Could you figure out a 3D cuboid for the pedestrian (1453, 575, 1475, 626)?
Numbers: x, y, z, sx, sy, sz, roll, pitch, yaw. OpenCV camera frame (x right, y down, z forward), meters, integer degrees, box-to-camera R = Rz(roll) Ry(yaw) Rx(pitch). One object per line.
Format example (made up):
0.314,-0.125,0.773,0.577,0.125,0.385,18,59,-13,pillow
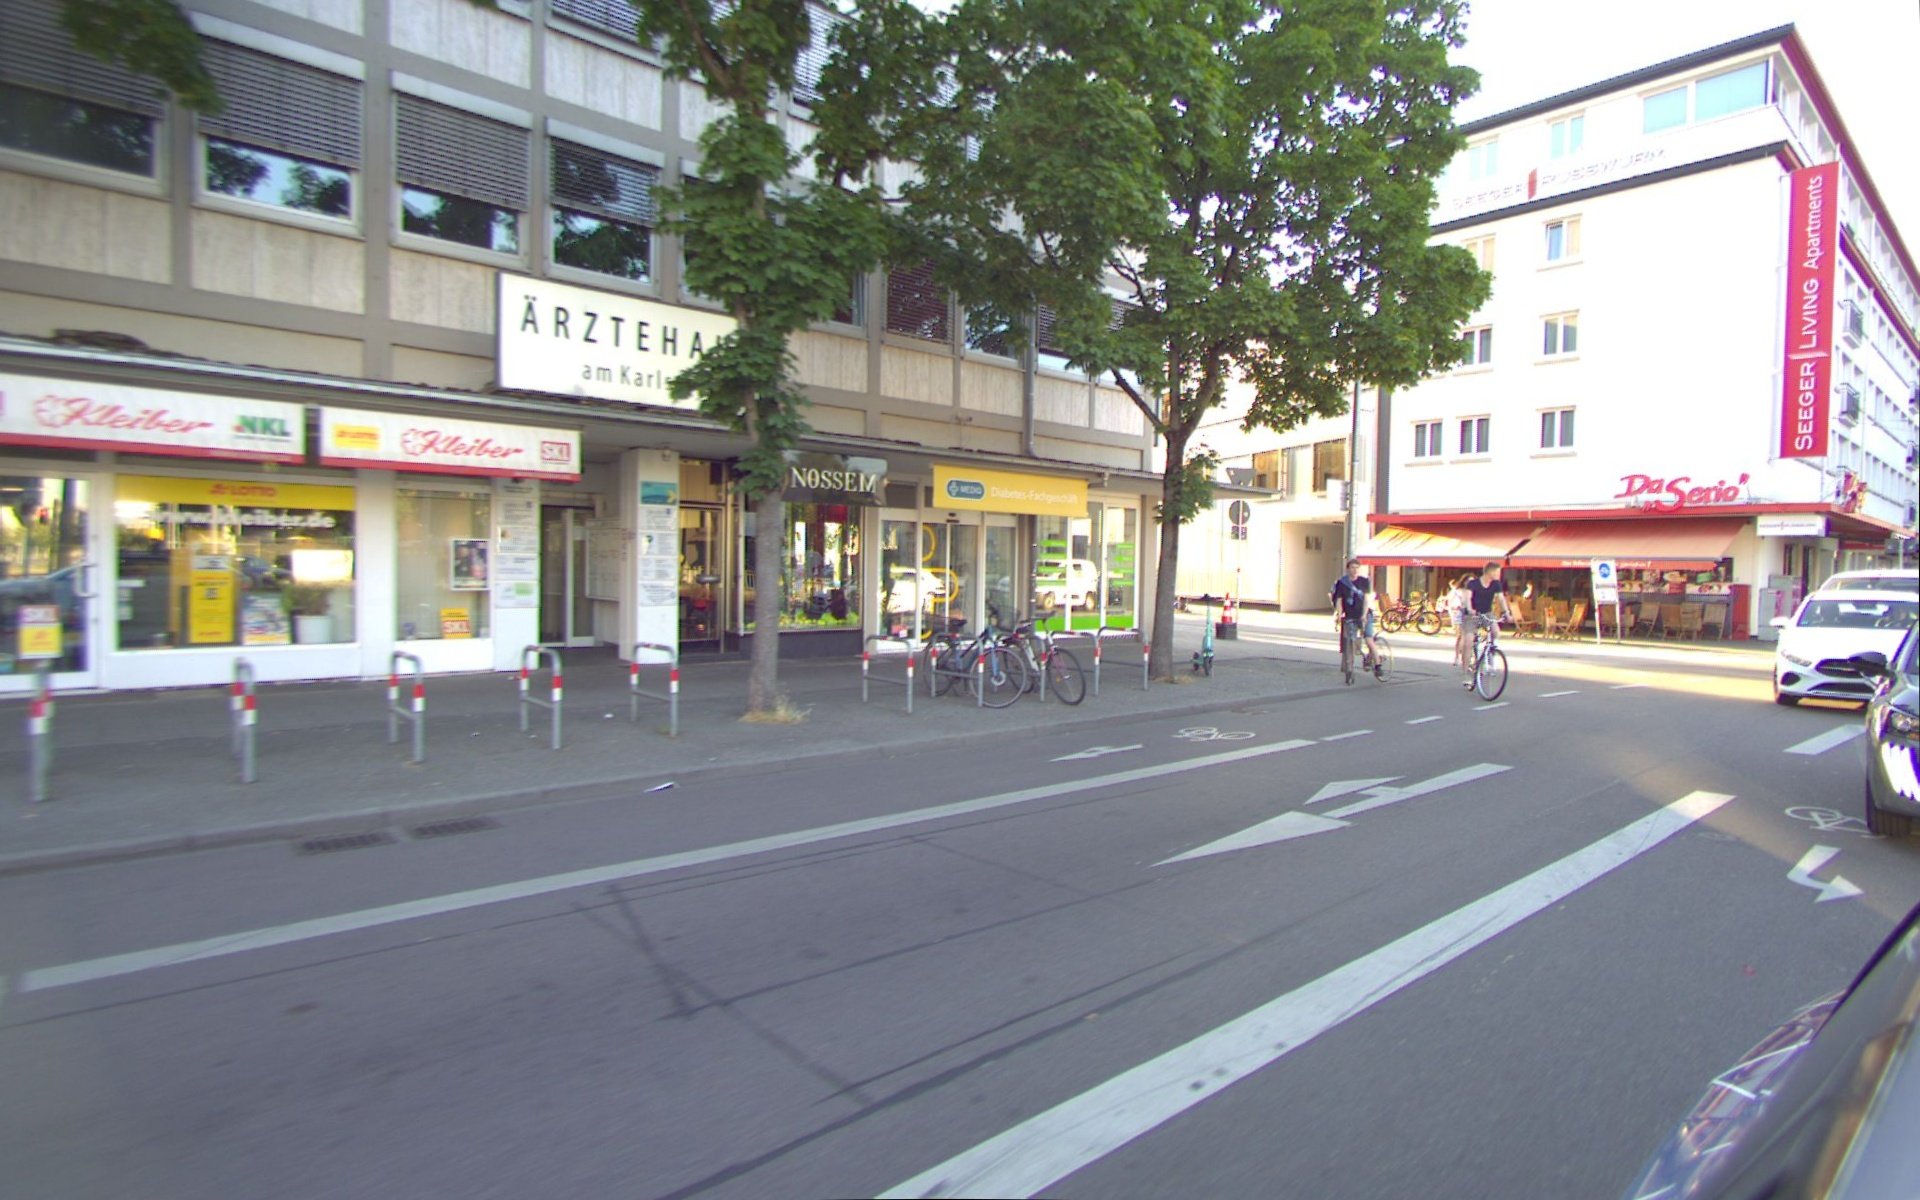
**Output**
14.810,-0.002,29.751,0.503,1.467,0.503,1,2,22,pedestrian

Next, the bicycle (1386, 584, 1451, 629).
13.255,0.177,29.277,0.589,1.180,1.635,-3,4,-35,bicycle

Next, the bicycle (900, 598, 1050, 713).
0.153,0.606,11.844,1.740,1.154,0.656,4,3,42,bicycle

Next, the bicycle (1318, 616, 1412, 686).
6.086,0.731,15.173,1.662,0.912,0.674,-1,3,-44,bicycle

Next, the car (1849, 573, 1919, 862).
7.127,0.602,6.584,1.909,1.522,4.634,2,3,41,car

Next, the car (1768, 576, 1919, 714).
12.354,0.480,13.432,4.486,1.466,1.814,-3,4,-42,car

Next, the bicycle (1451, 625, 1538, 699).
7.316,0.817,13.922,0.606,0.835,1.798,1,2,14,bicycle

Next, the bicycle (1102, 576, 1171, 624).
4.758,0.010,27.244,1.743,1.201,0.555,3,1,-24,bicycle

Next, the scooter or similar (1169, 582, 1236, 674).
3.753,0.411,15.762,0.504,1.338,1.283,1,2,-11,scooter or similar

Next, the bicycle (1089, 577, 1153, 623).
4.501,-0.008,28.294,1.682,1.201,0.541,3,1,-24,bicycle

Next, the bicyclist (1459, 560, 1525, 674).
7.319,0.214,13.939,0.605,1.505,0.715,1,2,14,bicyclist

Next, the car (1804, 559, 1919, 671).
17.499,0.231,18.590,4.785,1.861,2.000,0,2,-37,car

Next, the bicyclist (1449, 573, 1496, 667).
8.487,0.308,16.775,0.581,1.505,0.713,2,2,21,bicyclist

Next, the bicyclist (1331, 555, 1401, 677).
6.077,0.215,15.145,0.797,1.748,0.664,-1,2,-44,bicyclist

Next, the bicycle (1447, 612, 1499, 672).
8.474,0.670,16.761,0.593,0.835,1.728,2,2,22,bicycle

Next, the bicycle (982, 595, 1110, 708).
1.019,0.586,12.304,0.529,1.199,1.636,-1,3,-40,bicycle
